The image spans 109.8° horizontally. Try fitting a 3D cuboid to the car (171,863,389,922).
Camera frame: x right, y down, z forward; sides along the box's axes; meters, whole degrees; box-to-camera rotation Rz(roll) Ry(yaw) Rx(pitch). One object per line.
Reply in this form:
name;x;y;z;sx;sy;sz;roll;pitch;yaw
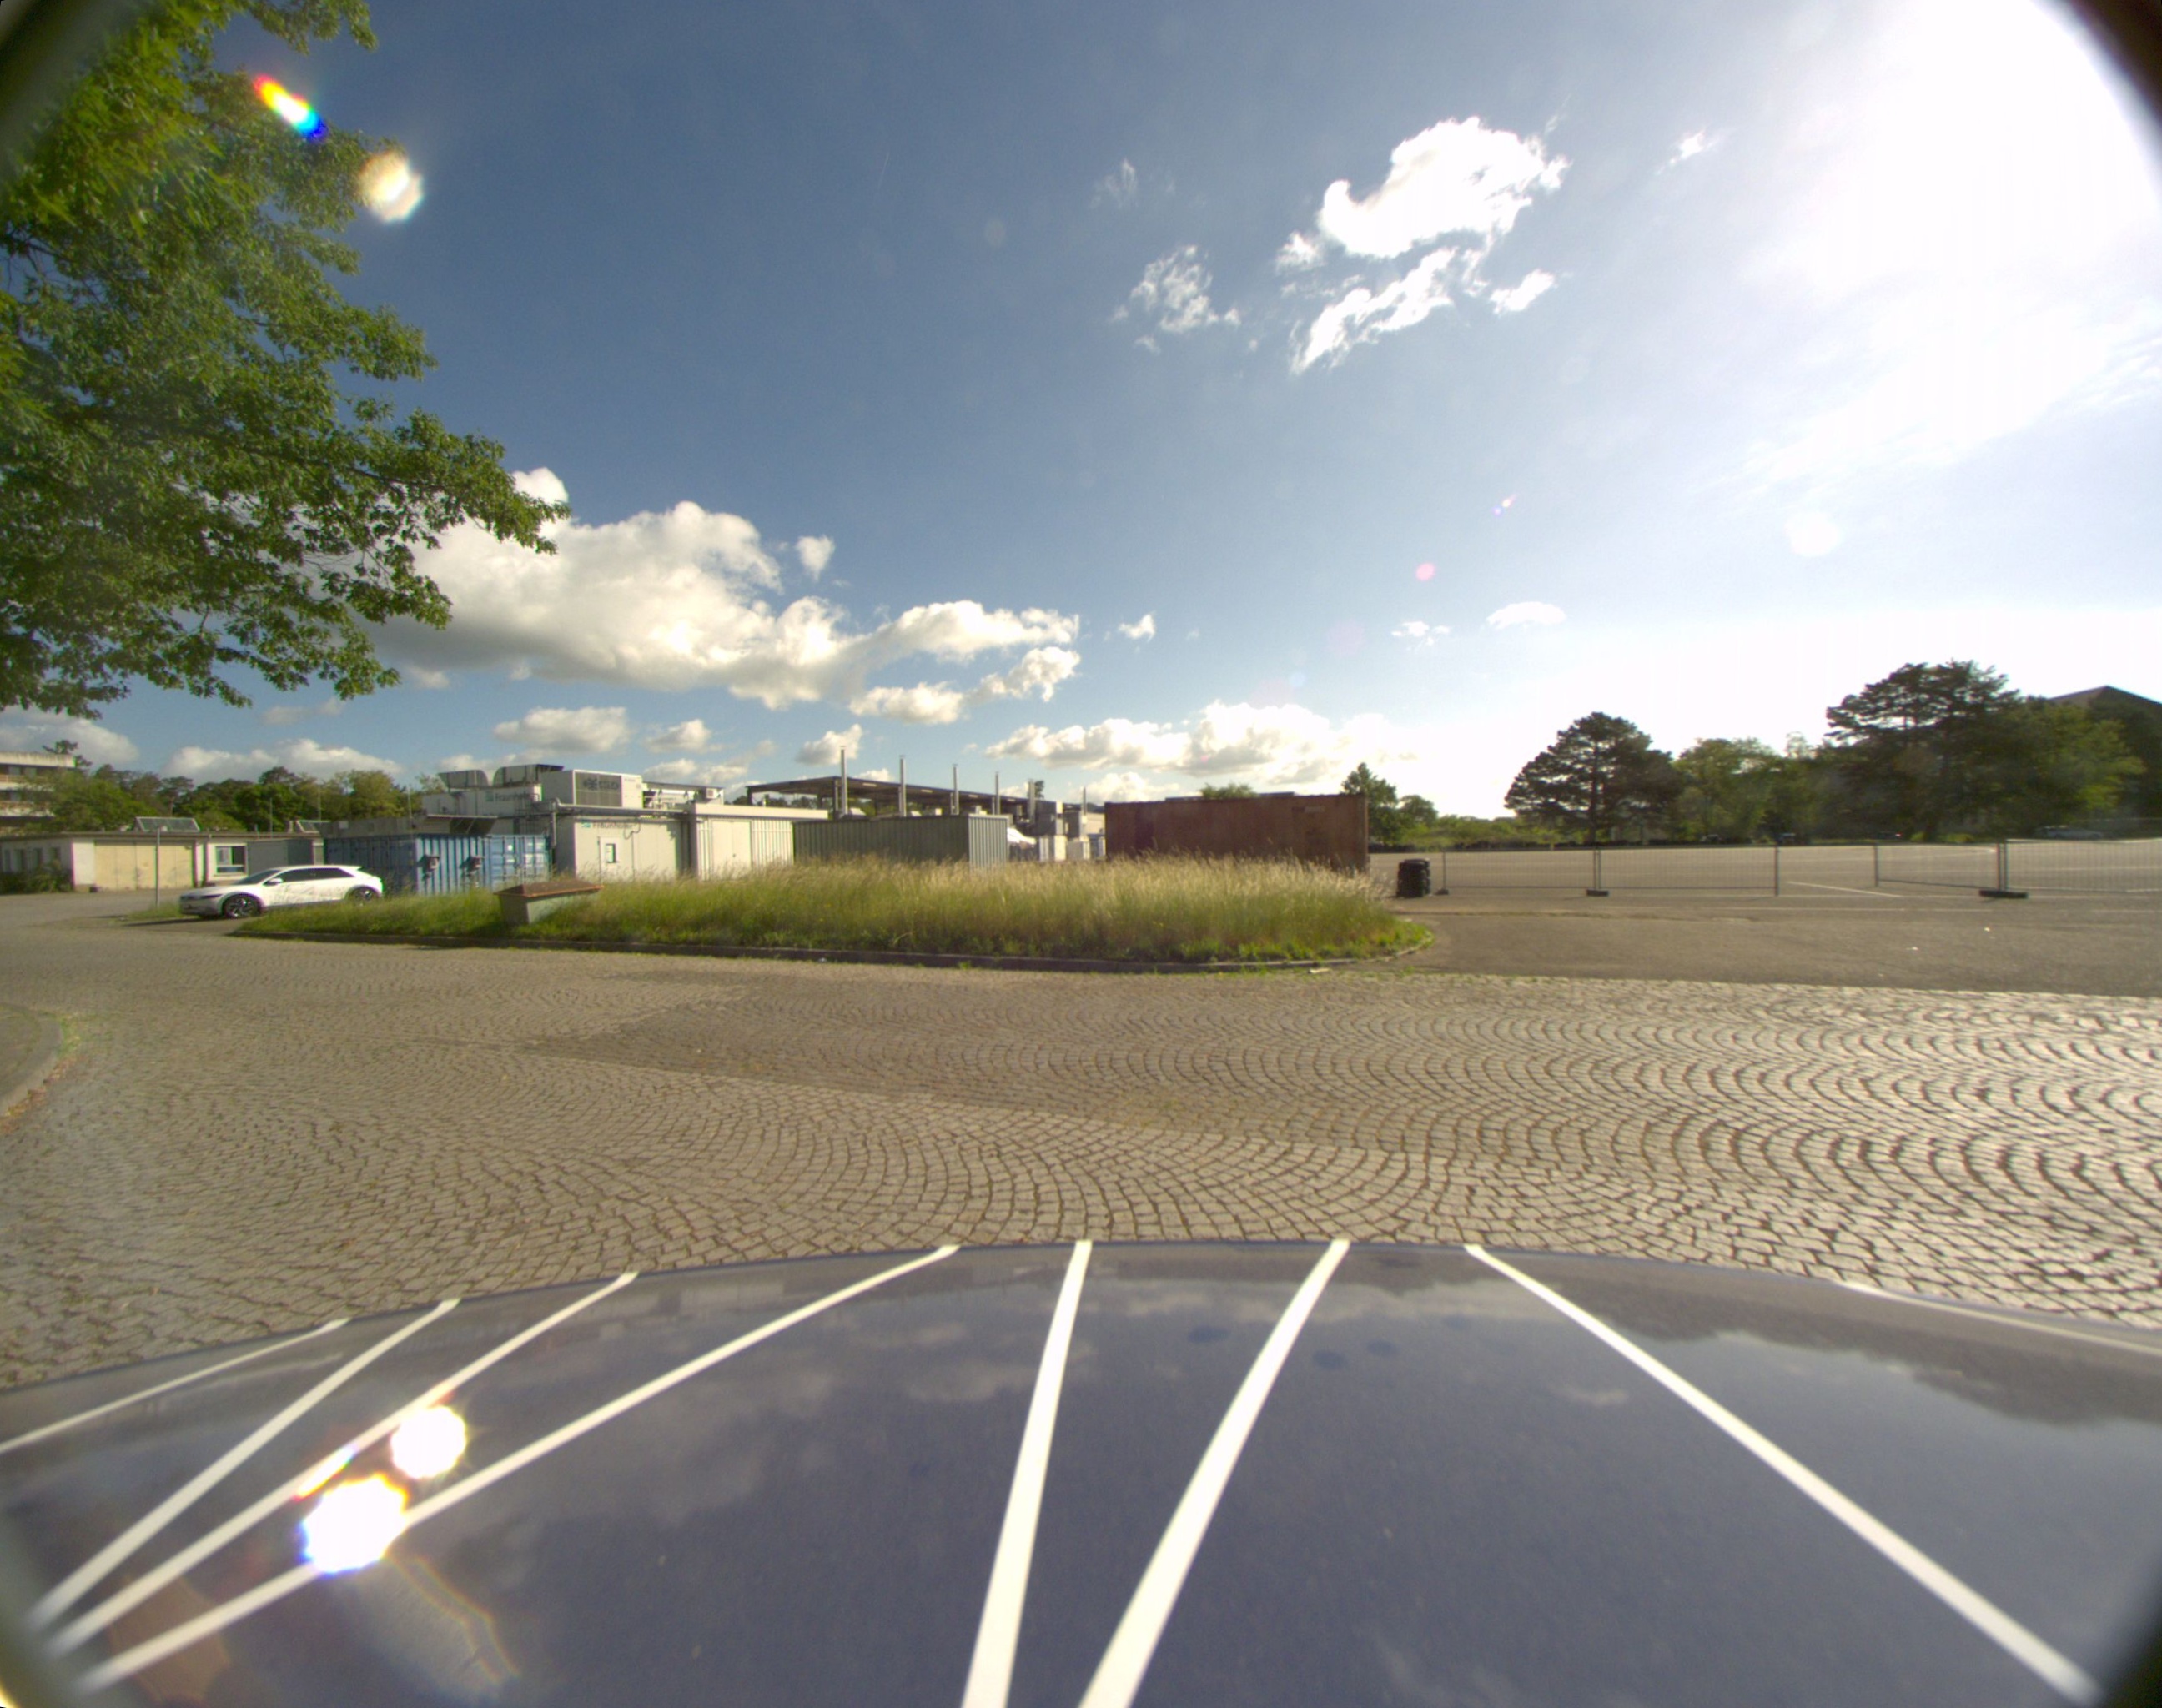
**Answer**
car;-26.290;1.213;25.185;1.820;1.584;4.526;-2;1;21
